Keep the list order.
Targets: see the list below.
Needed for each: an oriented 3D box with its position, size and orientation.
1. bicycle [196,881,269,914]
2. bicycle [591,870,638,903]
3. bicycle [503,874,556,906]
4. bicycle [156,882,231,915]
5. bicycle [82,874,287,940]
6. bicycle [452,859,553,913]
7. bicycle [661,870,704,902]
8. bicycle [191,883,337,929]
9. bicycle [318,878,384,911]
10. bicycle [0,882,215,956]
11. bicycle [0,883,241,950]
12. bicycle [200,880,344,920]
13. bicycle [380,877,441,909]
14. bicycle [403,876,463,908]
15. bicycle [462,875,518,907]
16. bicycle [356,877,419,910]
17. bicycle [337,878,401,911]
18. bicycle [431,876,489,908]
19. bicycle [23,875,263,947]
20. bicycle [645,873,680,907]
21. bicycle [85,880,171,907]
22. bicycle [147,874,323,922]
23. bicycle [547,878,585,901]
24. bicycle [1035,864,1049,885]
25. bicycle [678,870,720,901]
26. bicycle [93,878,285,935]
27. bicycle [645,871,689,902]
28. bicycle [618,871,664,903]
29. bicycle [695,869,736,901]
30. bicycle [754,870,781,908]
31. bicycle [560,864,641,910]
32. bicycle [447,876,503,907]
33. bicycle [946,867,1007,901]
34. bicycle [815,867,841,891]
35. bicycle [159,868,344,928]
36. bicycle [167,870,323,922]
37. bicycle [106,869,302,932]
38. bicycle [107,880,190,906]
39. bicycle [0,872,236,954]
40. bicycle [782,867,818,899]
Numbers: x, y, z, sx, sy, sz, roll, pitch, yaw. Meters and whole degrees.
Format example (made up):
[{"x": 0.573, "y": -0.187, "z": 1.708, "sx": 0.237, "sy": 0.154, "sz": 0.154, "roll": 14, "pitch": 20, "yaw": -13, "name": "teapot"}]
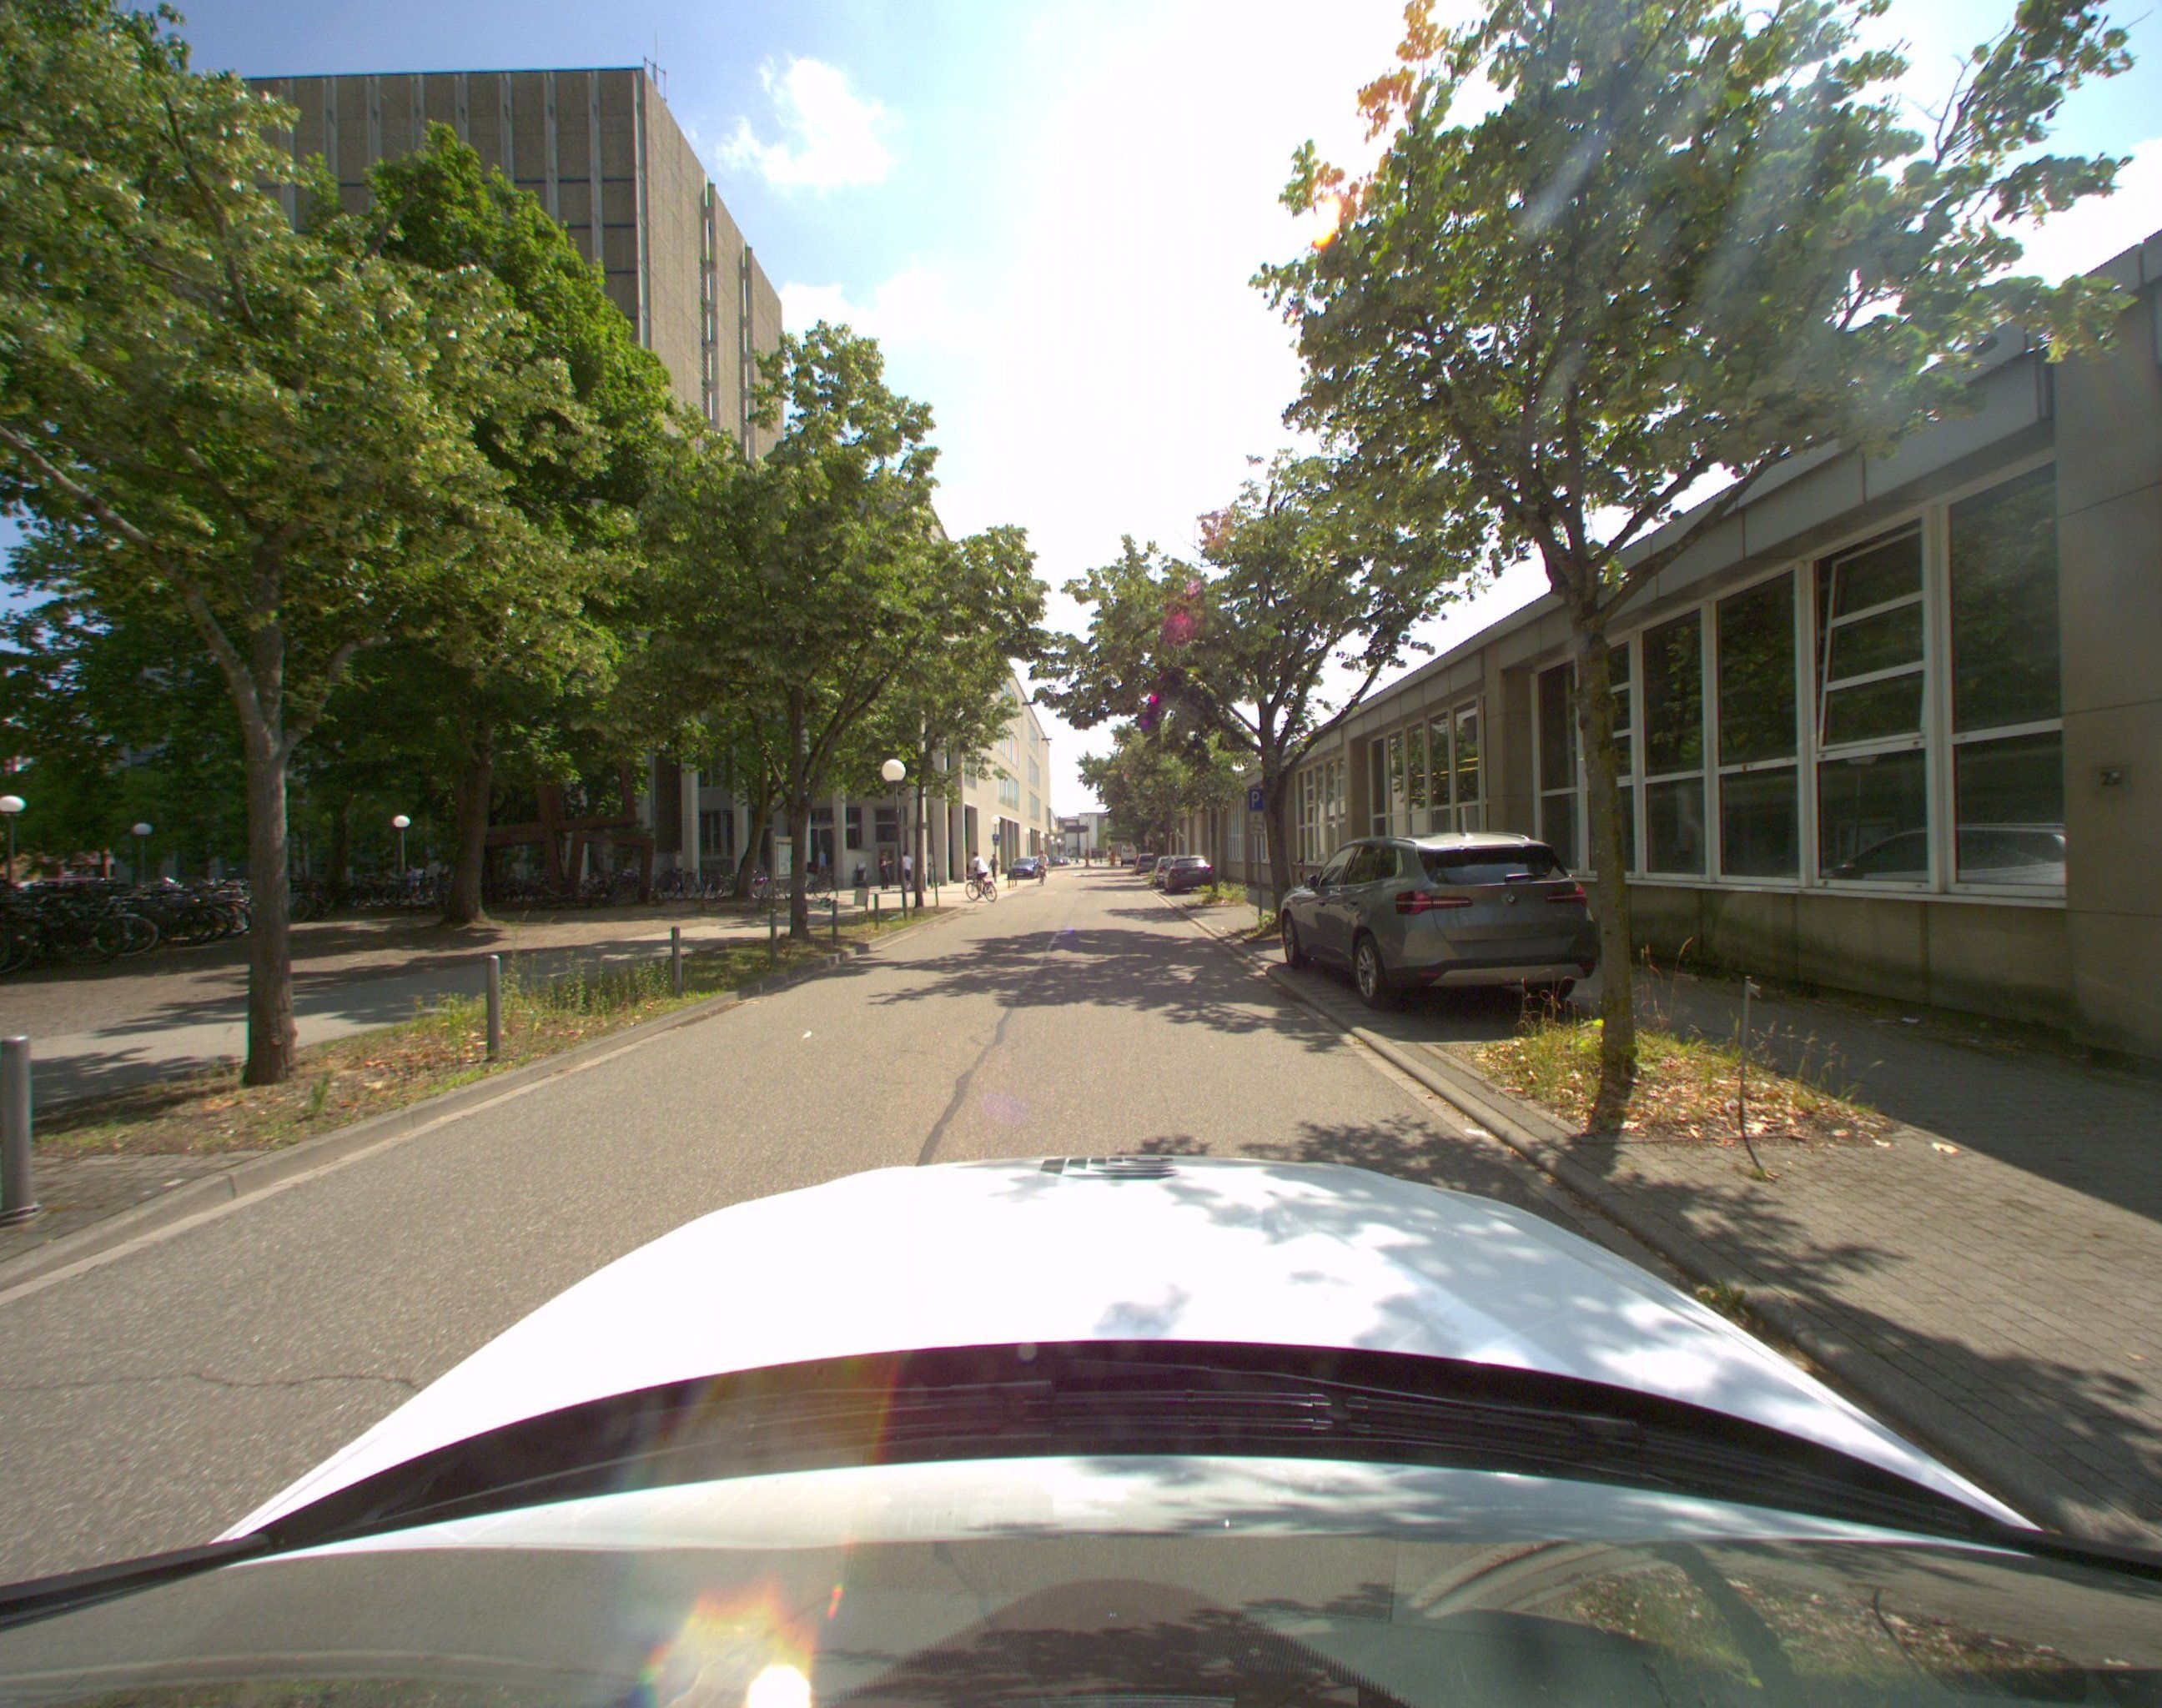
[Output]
[{"x": -31.276, "y": 1.589, "z": 30.048, "sx": 0.550, "sy": 1.086, "sz": 1.974, "roll": 1, "pitch": 0, "yaw": 2, "name": "bicycle"}, {"x": -15.700, "y": 1.081, "z": 27.452, "sx": 0.473, "sy": 1.032, "sz": 1.851, "roll": -1, "pitch": 0, "yaw": 2, "name": "bicycle"}, {"x": -20.351, "y": 1.308, "z": 30.079, "sx": 0.550, "sy": 1.086, "sz": 1.974, "roll": 1, "pitch": 0, "yaw": 2, "name": "bicycle"}, {"x": -32.790, "y": 1.631, "z": 30.120, "sx": 0.550, "sy": 1.086, "sz": 1.974, "roll": 1, "pitch": 0, "yaw": 2, "name": "bicycle"}, {"x": -18.126, "y": 1.024, "z": 16.614, "sx": 2.723, "sy": 1.179, "sz": 0.872, "roll": 0, "pitch": 0, "yaw": -41, "name": "bicycle"}, {"x": -16.373, "y": 0.883, "z": 23.121, "sx": 2.298, "sy": 1.450, "sz": 0.601, "roll": -1, "pitch": -1, "yaw": -32, "name": "bicycle"}, {"x": -14.633, "y": 1.157, "z": 29.972, "sx": 0.550, "sy": 1.086, "sz": 1.974, "roll": 1, "pitch": 0, "yaw": 2, "name": "bicycle"}, {"x": -23.531, "y": 1.469, "z": 23.564, "sx": 2.927, "sy": 1.156, "sz": 0.734, "roll": 0, "pitch": 0, "yaw": -41, "name": "bicycle"}, {"x": -26.582, "y": 1.455, "z": 29.699, "sx": 0.550, "sy": 1.086, "sz": 1.974, "roll": 1, "pitch": 0, "yaw": 2, "name": "bicycle"}, {"x": -15.772, "y": 1.004, "z": 12.858, "sx": 2.798, "sy": 1.015, "sz": 0.872, "roll": 0, "pitch": 0, "yaw": -41, "name": "bicycle"}, {"x": -17.084, "y": 1.078, "z": 14.599, "sx": 2.748, "sy": 1.003, "sz": 0.872, "roll": 0, "pitch": 0, "yaw": -41, "name": "bicycle"}, {"x": -22.574, "y": 1.270, "z": 22.828, "sx": 2.777, "sy": 1.069, "sz": 0.734, "roll": 2, "pitch": -2, "yaw": -41, "name": "bicycle"}, {"x": -24.402, "y": 1.399, "z": 29.688, "sx": 0.550, "sy": 1.086, "sz": 1.974, "roll": 1, "pitch": 0, "yaw": 2, "name": "bicycle"}, {"x": -23.728, "y": 1.388, "z": 29.864, "sx": 0.550, "sy": 1.086, "sz": 1.974, "roll": 1, "pitch": 0, "yaw": 2, "name": "bicycle"}, {"x": -21.831, "y": 1.348, "z": 30.116, "sx": 0.550, "sy": 1.086, "sz": 1.974, "roll": 1, "pitch": 0, "yaw": 2, "name": "bicycle"}, {"x": -25.248, "y": 1.420, "z": 29.684, "sx": 0.550, "sy": 1.086, "sz": 1.974, "roll": 1, "pitch": 0, "yaw": 2, "name": "bicycle"}, {"x": -25.881, "y": 1.447, "z": 29.647, "sx": 0.550, "sy": 1.086, "sz": 1.974, "roll": 1, "pitch": 0, "yaw": 2, "name": "bicycle"}, {"x": -23.134, "y": 1.391, "z": 30.381, "sx": 0.550, "sy": 1.086, "sz": 1.974, "roll": 1, "pitch": 0, "yaw": 2, "name": "bicycle"}, {"x": -17.690, "y": 1.032, "z": 15.516, "sx": 2.899, "sy": 1.178, "sz": 0.872, "roll": 0, "pitch": 0, "yaw": -41, "name": "bicycle"}, {"x": -13.063, "y": 1.108, "z": 25.435, "sx": 0.475, "sy": 0.965, "sz": 1.651, "roll": -1, "pitch": 0, "yaw": -9, "name": "bicycle"}, {"x": -35.197, "y": 1.452, "z": 30.133, "sx": 0.417, "sy": 0.875, "sz": 2.285, "roll": 0, "pitch": 0, "yaw": 2, "name": "bicycle"}, {"x": -21.181, "y": 1.097, "z": 20.521, "sx": 2.976, "sy": 1.126, "sz": 0.734, "roll": 2, "pitch": -2, "yaw": -41, "name": "bicycle"}, {"x": -24.235, "y": 1.660, "z": 38.362, "sx": 0.523, "sy": 0.946, "sz": 1.994, "roll": -1, "pitch": 0, "yaw": 1, "name": "bicycle"}, {"x": -2.174, "y": 1.120, "z": 45.489, "sx": 0.683, "sy": 1.130, "sz": 1.888, "roll": -1, "pitch": 0, "yaw": 0, "name": "bicycle"}, {"x": -14.027, "y": 1.142, "z": 29.990, "sx": 0.550, "sy": 1.086, "sz": 1.974, "roll": 1, "pitch": 0, "yaw": 2, "name": "bicycle"}, {"x": -19.104, "y": 1.093, "z": 17.573, "sx": 2.698, "sy": 1.076, "sz": 0.872, "roll": 0, "pitch": 0, "yaw": -41, "name": "bicycle"}, {"x": -15.280, "y": 1.178, "z": 30.109, "sx": 0.550, "sy": 1.086, "sz": 1.974, "roll": 1, "pitch": 0, "yaw": 2, "name": "bicycle"}, {"x": -16.127, "y": 1.193, "z": 29.900, "sx": 0.550, "sy": 1.086, "sz": 1.974, "roll": 1, "pitch": 0, "yaw": 2, "name": "bicycle"}, {"x": -13.461, "y": 1.129, "z": 30.046, "sx": 0.550, "sy": 1.086, "sz": 1.974, "roll": 1, "pitch": 0, "yaw": 2, "name": "bicycle"}, {"x": -9.056, "y": 0.995, "z": 23.543, "sx": 0.382, "sy": 1.025, "sz": 1.808, "roll": -1, "pitch": 0, "yaw": -10, "name": "bicycle"}, {"x": -14.334, "y": 0.970, "z": 24.355, "sx": 2.027, "sy": 1.254, "sz": 0.581, "roll": -2, "pitch": 0, "yaw": -31, "name": "bicycle"}, {"x": -22.486, "y": 1.370, "z": 30.267, "sx": 0.550, "sy": 1.086, "sz": 1.974, "roll": 1, "pitch": 0, "yaw": 2, "name": "bicycle"}, {"x": -3.912, "y": 1.098, "z": 30.287, "sx": 0.890, "sy": 1.200, "sz": 2.716, "roll": 0, "pitch": 0, "yaw": -41, "name": "bicycle"}, {"x": -11.829, "y": 1.142, "z": 38.052, "sx": 0.462, "sy": 1.014, "sz": 1.868, "roll": 0, "pitch": 2, "yaw": 5, "name": "bicycle"}, {"x": -20.055, "y": 1.016, "z": 19.836, "sx": 3.099, "sy": 1.297, "sz": 0.872, "roll": 0, "pitch": 0, "yaw": -41, "name": "bicycle"}, {"x": -22.211, "y": 1.076, "z": 21.749, "sx": 2.852, "sy": 1.233, "sz": 0.734, "roll": -1, "pitch": 0, "yaw": -41, "name": "bicycle"}, {"x": -19.844, "y": 1.013, "z": 18.574, "sx": 2.949, "sy": 1.287, "sz": 0.872, "roll": 0, "pitch": 0, "yaw": -41, "name": "bicycle"}, {"x": -34.509, "y": 1.435, "z": 30.186, "sx": 0.417, "sy": 0.875, "sz": 2.285, "roll": 0, "pitch": 0, "yaw": 2, "name": "bicycle"}, {"x": -16.332, "y": 0.938, "z": 13.659, "sx": 2.924, "sy": 1.220, "sz": 0.872, "roll": 0, "pitch": 0, "yaw": -41, "name": "bicycle"}, {"x": -10.265, "y": 1.039, "z": 29.842, "sx": 0.550, "sy": 1.086, "sz": 1.974, "roll": 1, "pitch": 0, "yaw": 2, "name": "bicycle"}]
